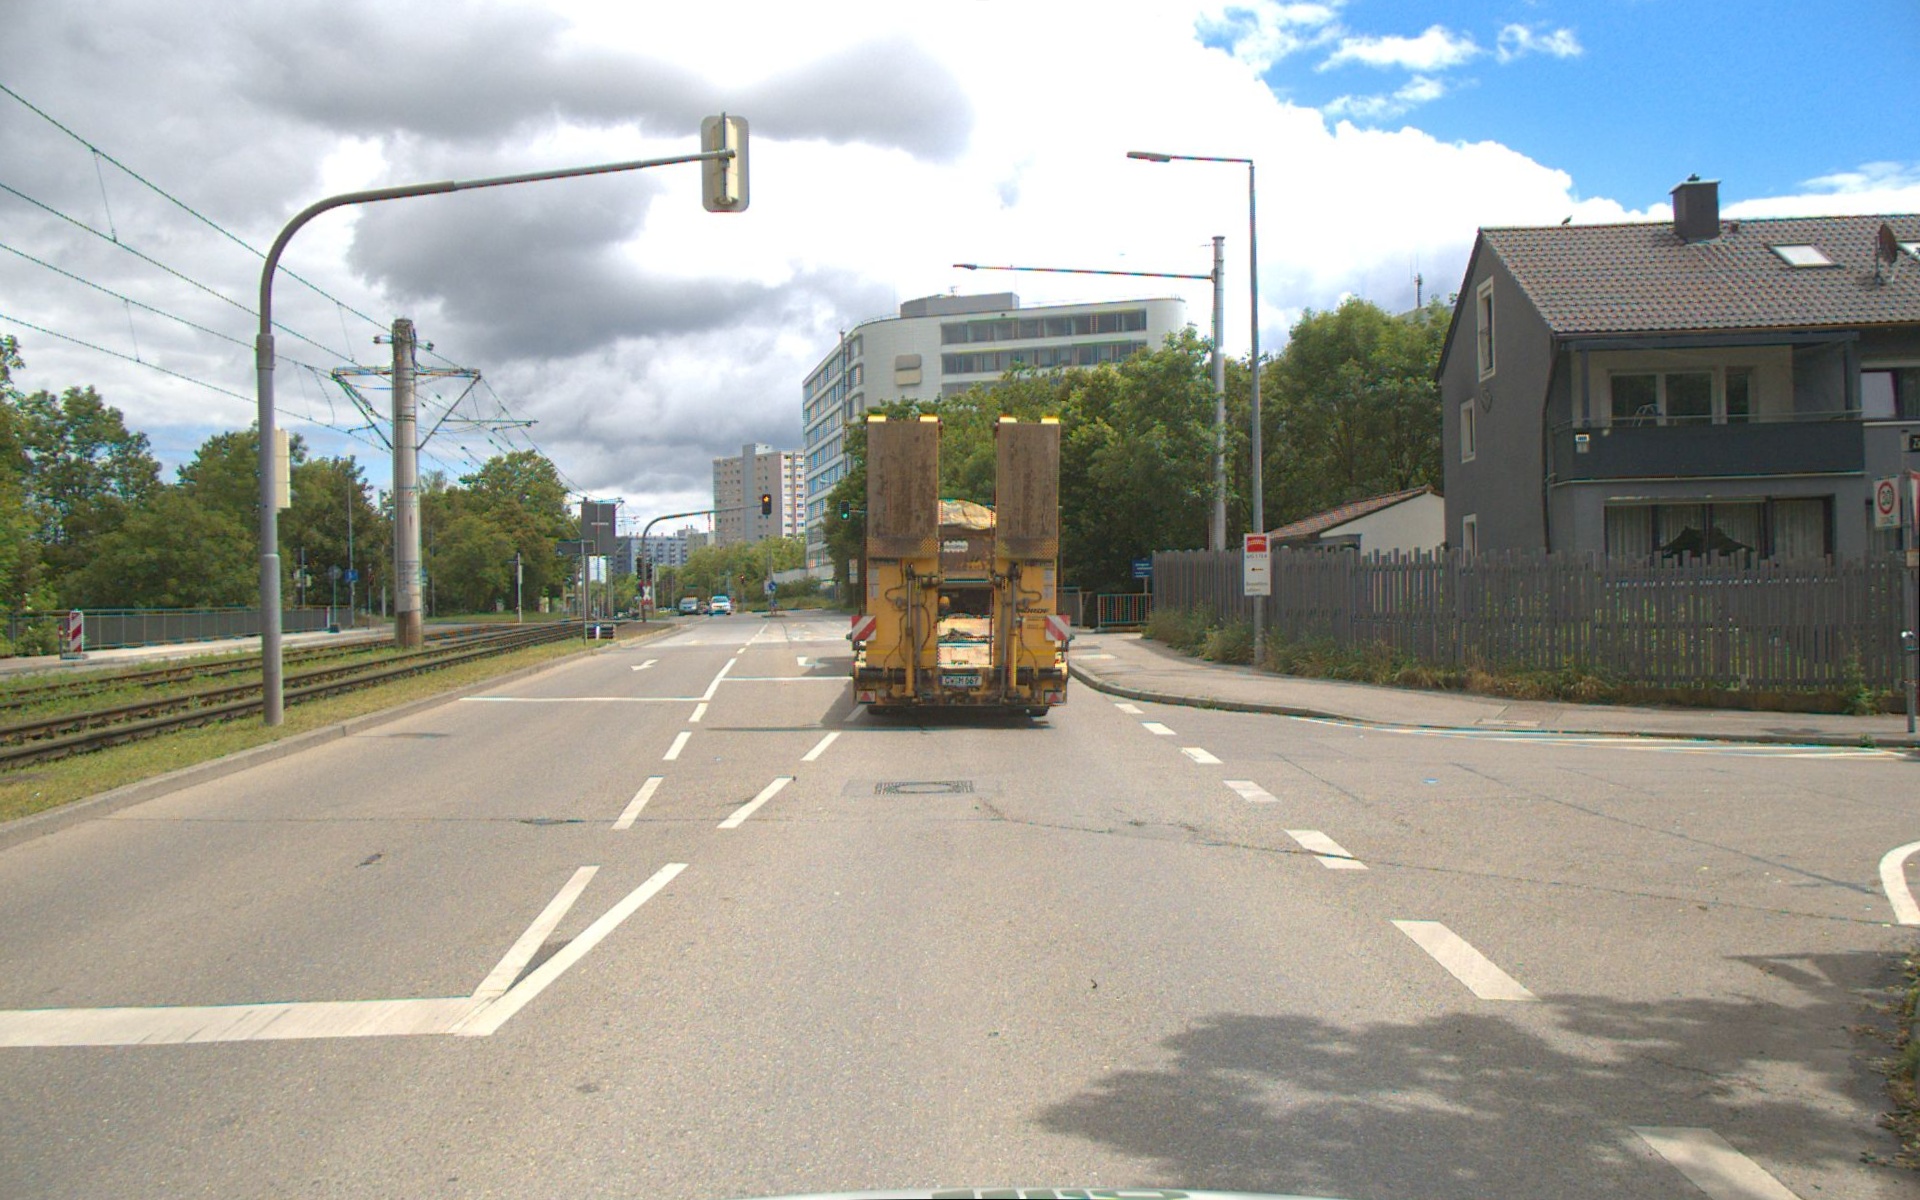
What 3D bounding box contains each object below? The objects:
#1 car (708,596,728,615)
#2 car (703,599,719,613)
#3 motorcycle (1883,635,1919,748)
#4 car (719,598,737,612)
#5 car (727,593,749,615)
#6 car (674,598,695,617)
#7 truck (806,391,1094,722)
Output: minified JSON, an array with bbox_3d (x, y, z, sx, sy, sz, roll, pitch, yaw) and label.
[{"bbox_3d":[-20.019,0.445,136.945,1.563,1.553,3.649,-1,0,-7],"label":"car"},{"bbox_3d":[-31.050,0.768,206.545,1.956,1.646,3.992,1,0,-9],"label":"car"},{"bbox_3d":[10.491,0.975,17.597,0.645,1.169,2.426,0,0,16],"label":"motorcycle"},{"bbox_3d":[-25.588,0.554,182.508,1.956,1.445,3.992,1,0,-9],"label":"car"},{"bbox_3d":[-20.142,0.392,149.922,1.956,1.959,3.992,1,0,-9],"label":"car"},{"bbox_3d":[-25.127,0.698,150.853,1.751,1.597,4.335,-1,0,-9],"label":"car"},{"bbox_3d":[-0.471,-0.461,24.945,3.250,3.715,12.552,0,0,-3],"label":"truck"}]
